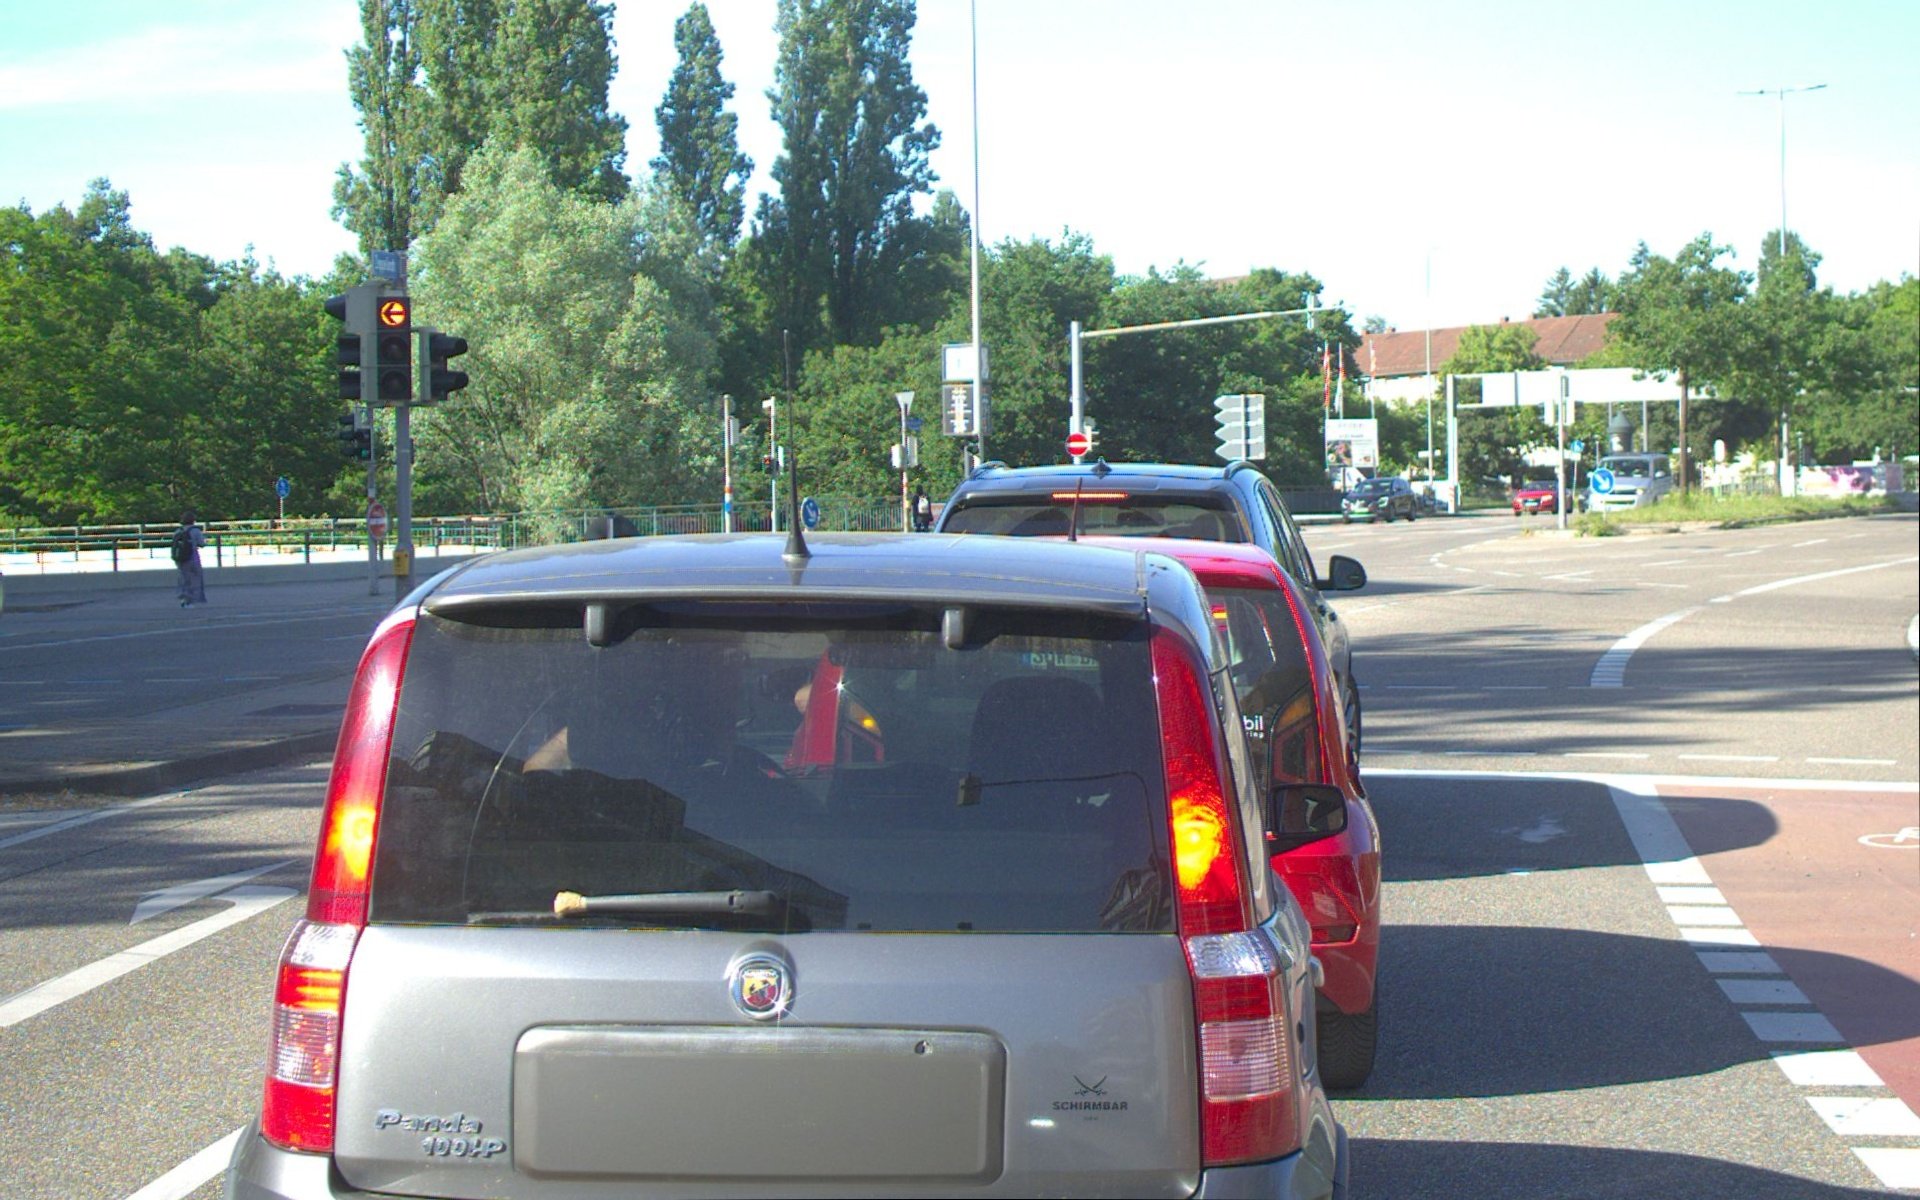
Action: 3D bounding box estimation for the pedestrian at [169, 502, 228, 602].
[{"bbox_3d":[-12.296,-0.769,55.510,0.686,1.533,1.366,0,-3,-3],"label":"pedestrian"}]

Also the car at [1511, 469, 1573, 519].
[{"bbox_3d":[24.184,-4.388,142.739,2.014,1.848,4.882,0,-1,16],"label":"car"}]

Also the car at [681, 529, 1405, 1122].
[{"bbox_3d":[0.287,0.529,10.726,1.820,1.474,4.000,1,1,2],"label":"car"}]

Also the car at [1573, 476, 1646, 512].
[{"bbox_3d":[28.948,-4.730,153.079,2.016,1.540,4.880,0,2,26],"label":"car"}]

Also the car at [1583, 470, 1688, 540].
[{"bbox_3d":[19.951,-2.773,101.400,2.015,1.848,4.880,0,-1,24],"label":"car"}]

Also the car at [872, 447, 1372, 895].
[{"bbox_3d":[0.904,0.208,16.101,1.869,1.784,4.413,1,2,9],"label":"car"}]

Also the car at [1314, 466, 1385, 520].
[{"bbox_3d":[14.612,-3.985,128.752,2.014,1.848,4.427,0,-1,15],"label":"car"}]

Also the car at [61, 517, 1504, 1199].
[{"bbox_3d":[-0.138,0.621,6.370,1.820,1.484,4.000,2,2,3],"label":"car"}]
